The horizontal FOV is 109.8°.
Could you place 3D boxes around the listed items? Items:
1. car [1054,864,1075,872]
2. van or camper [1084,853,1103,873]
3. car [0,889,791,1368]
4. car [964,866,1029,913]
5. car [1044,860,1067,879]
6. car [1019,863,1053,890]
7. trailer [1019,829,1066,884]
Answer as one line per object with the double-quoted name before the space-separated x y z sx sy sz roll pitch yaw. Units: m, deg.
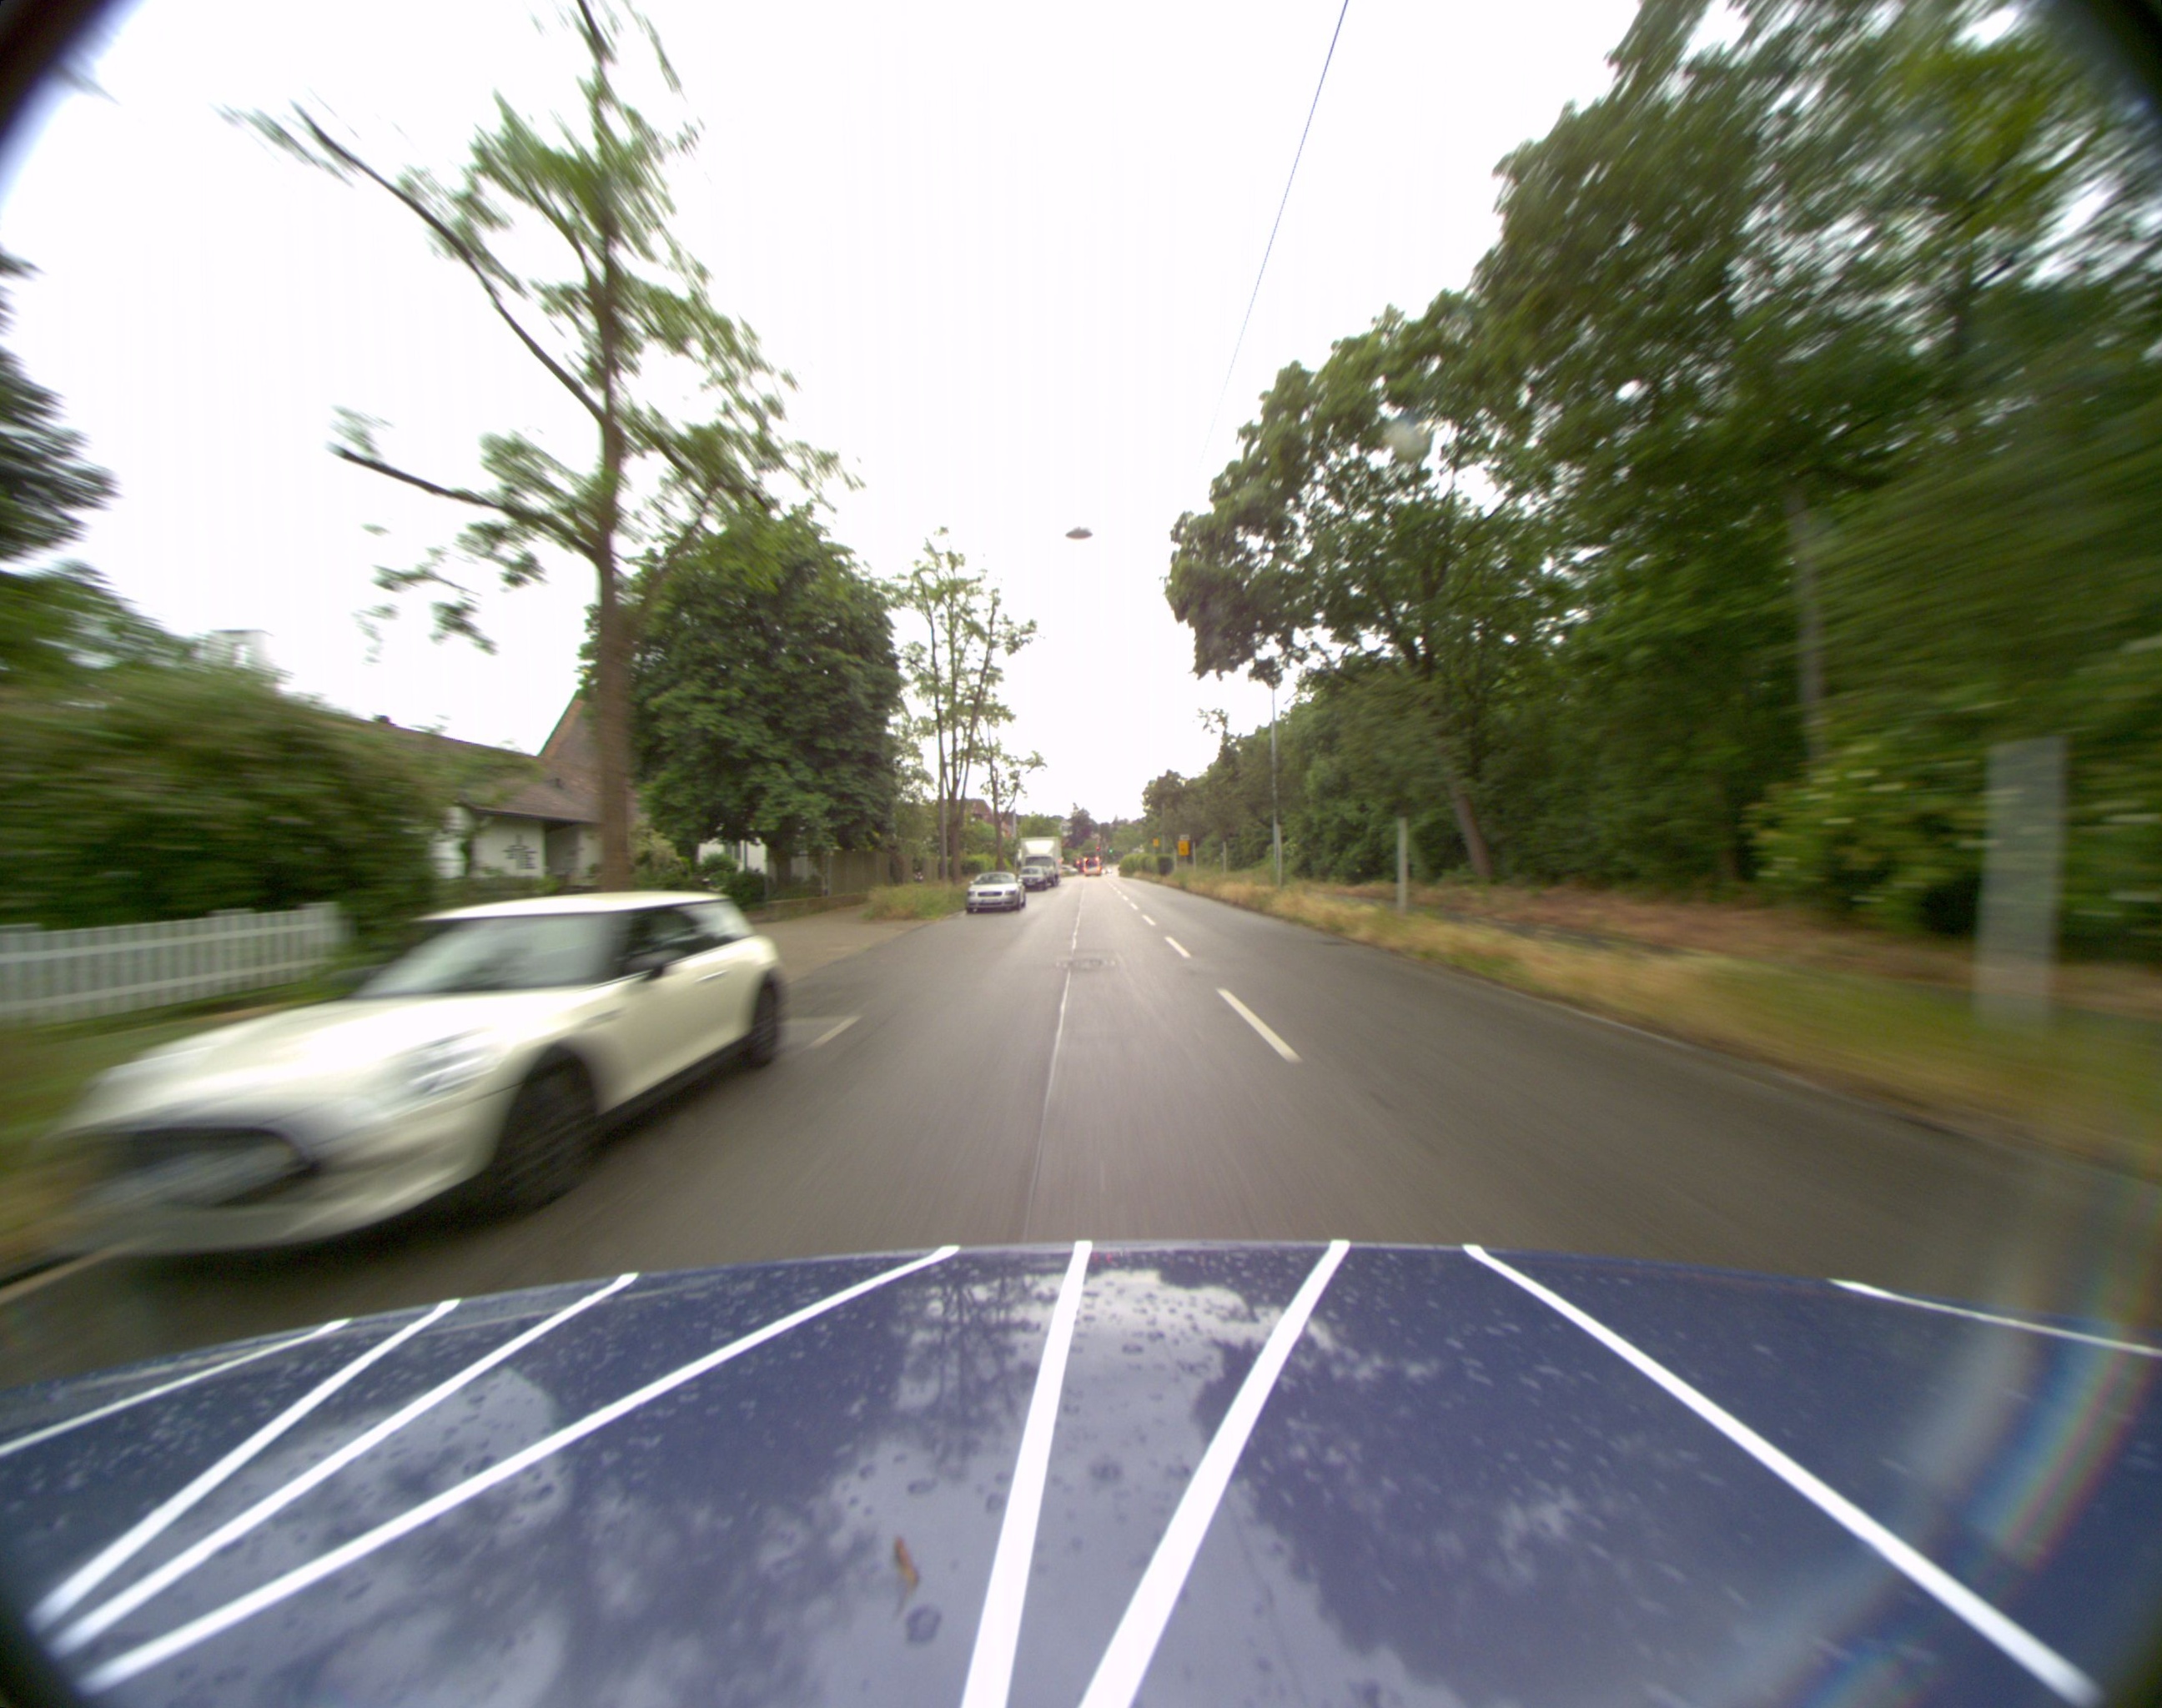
"car" -4.174 3.520 191.966 5.049 1.966 2.001 -3 0 5
"van or camper" 2.200 1.464 129.812 2.862 3.159 6.852 -3 0 3
"car" -3.352 1.046 4.482 1.742 1.456 3.725 -3 0 1
"car" -2.845 1.179 26.409 1.786 1.387 4.000 -3 -1 0
"car" -2.198 1.297 65.672 1.800 1.465 4.548 -3 -1 0
"car" -2.626 1.280 45.002 1.645 1.455 4.000 -3 0 1
"trailer" -2.616 0.225 54.199 2.741 3.487 8.248 -3 0 0
